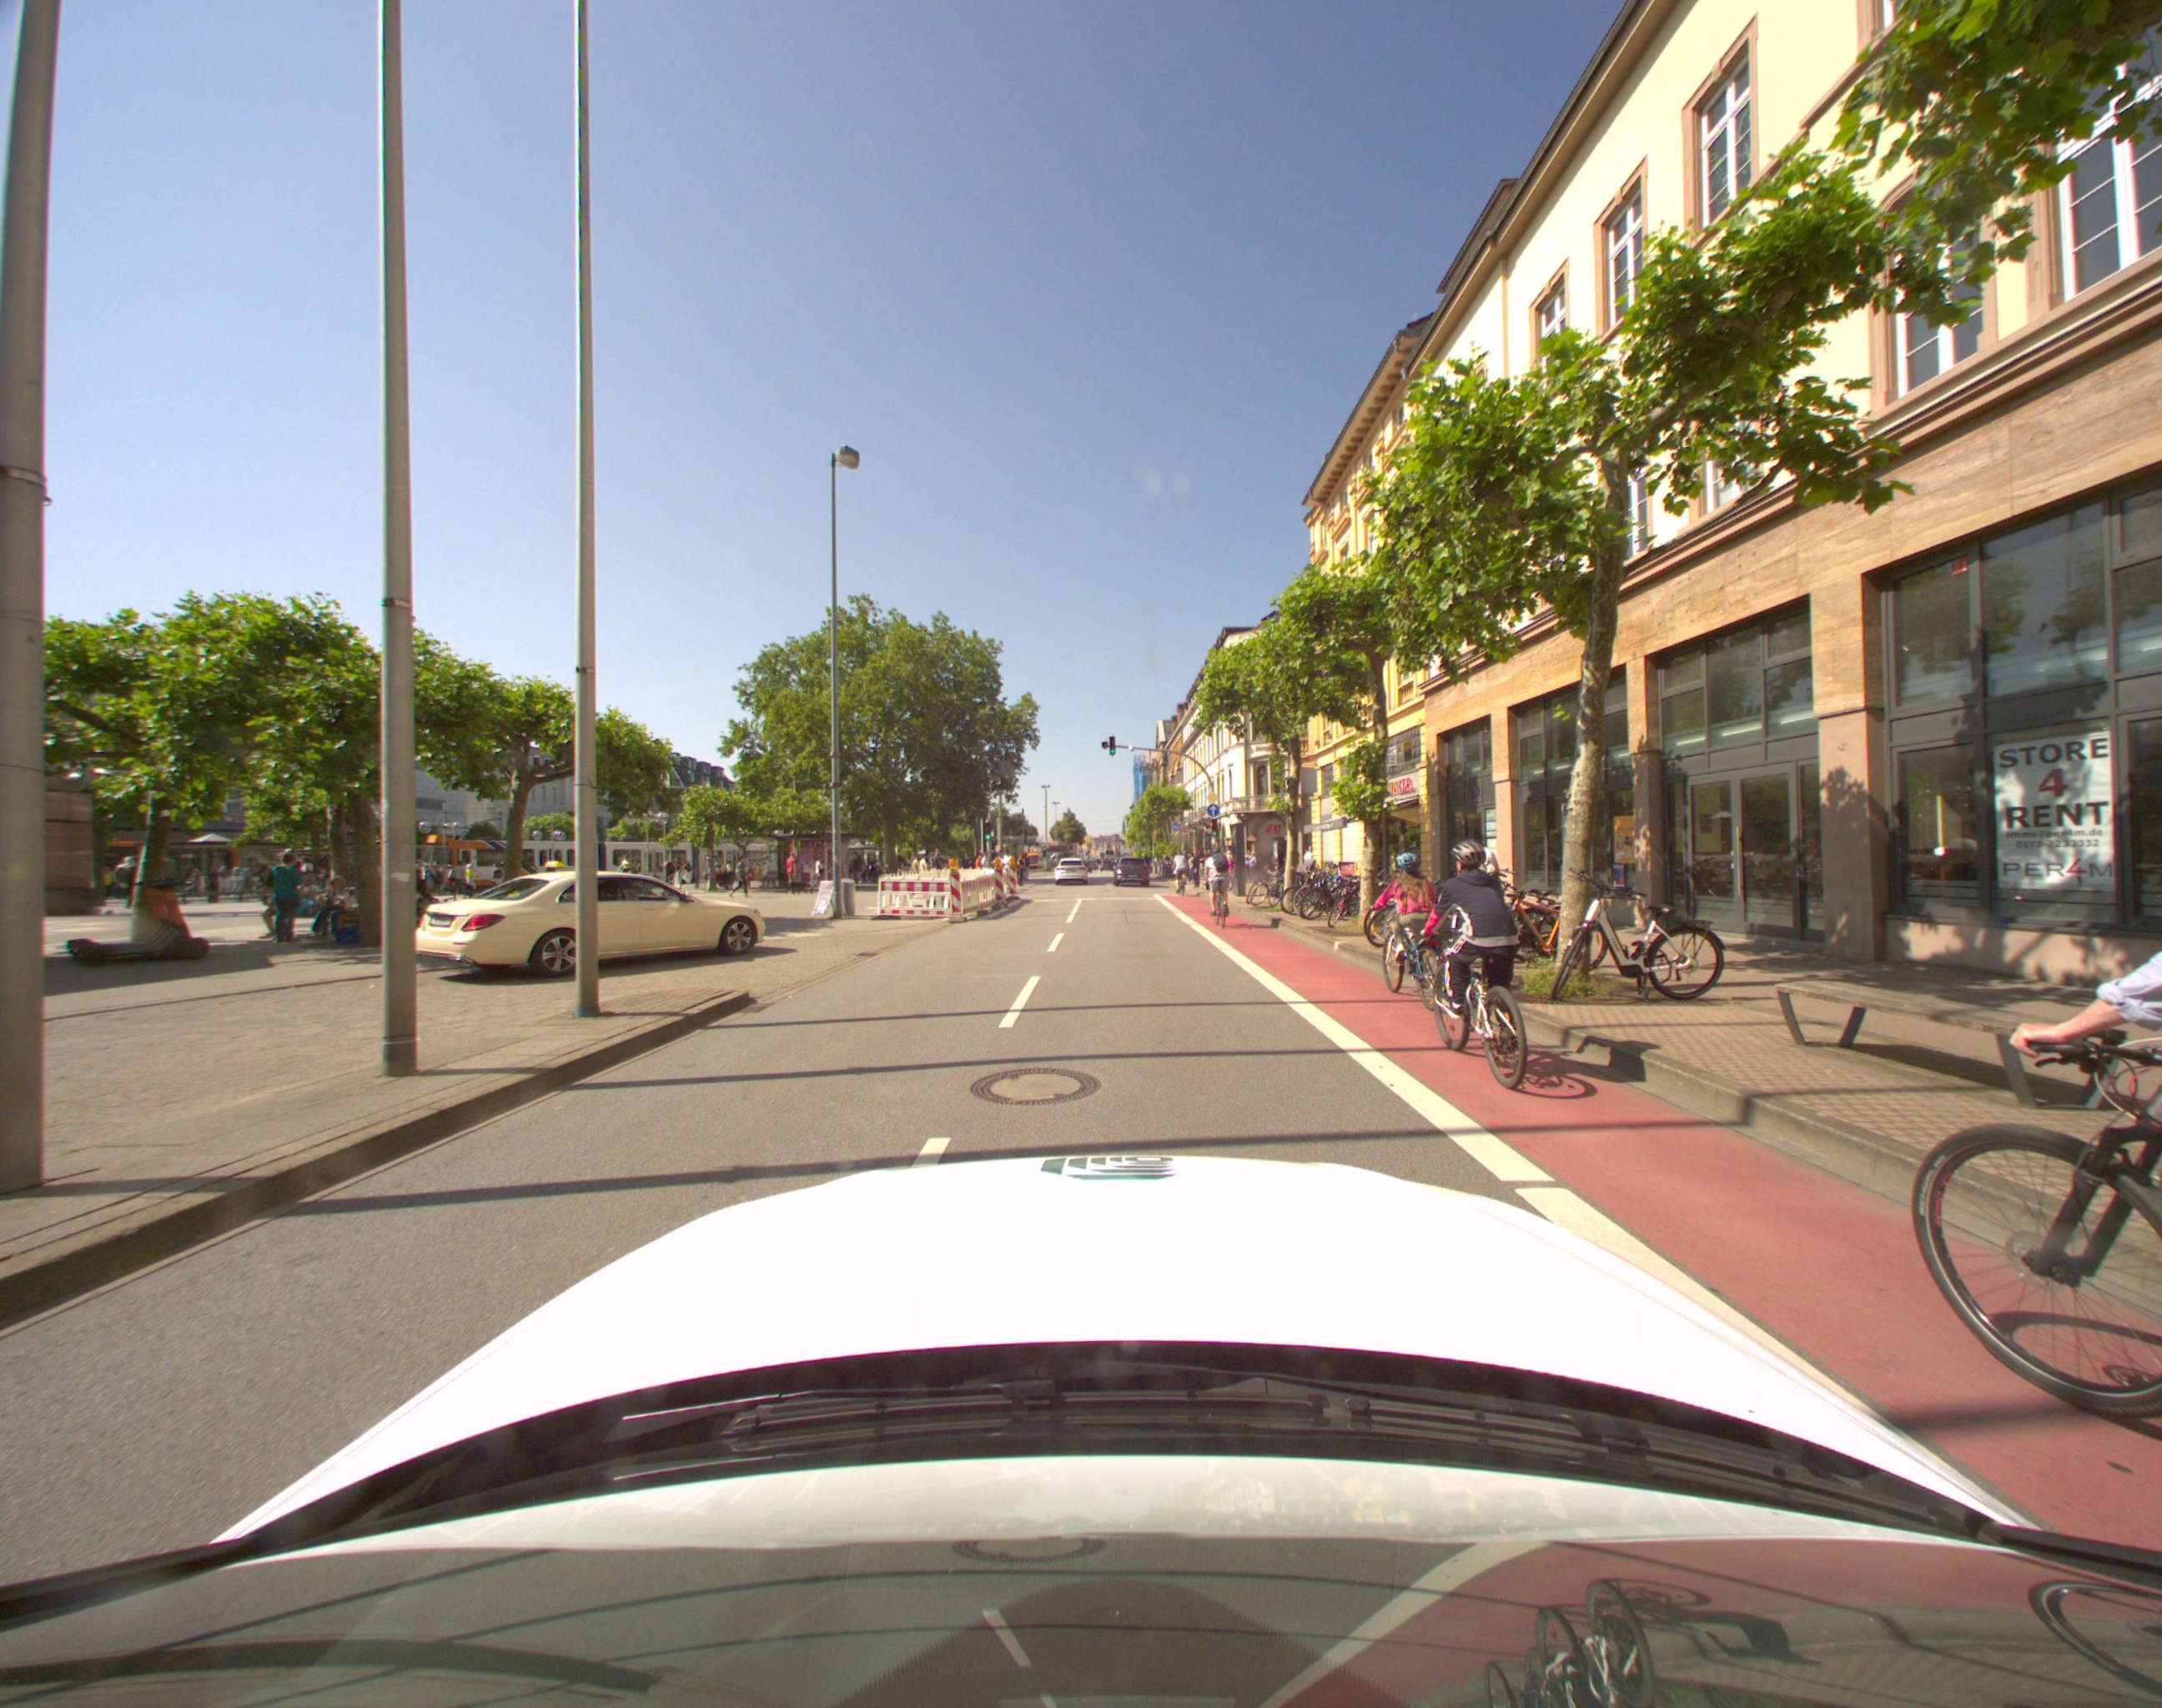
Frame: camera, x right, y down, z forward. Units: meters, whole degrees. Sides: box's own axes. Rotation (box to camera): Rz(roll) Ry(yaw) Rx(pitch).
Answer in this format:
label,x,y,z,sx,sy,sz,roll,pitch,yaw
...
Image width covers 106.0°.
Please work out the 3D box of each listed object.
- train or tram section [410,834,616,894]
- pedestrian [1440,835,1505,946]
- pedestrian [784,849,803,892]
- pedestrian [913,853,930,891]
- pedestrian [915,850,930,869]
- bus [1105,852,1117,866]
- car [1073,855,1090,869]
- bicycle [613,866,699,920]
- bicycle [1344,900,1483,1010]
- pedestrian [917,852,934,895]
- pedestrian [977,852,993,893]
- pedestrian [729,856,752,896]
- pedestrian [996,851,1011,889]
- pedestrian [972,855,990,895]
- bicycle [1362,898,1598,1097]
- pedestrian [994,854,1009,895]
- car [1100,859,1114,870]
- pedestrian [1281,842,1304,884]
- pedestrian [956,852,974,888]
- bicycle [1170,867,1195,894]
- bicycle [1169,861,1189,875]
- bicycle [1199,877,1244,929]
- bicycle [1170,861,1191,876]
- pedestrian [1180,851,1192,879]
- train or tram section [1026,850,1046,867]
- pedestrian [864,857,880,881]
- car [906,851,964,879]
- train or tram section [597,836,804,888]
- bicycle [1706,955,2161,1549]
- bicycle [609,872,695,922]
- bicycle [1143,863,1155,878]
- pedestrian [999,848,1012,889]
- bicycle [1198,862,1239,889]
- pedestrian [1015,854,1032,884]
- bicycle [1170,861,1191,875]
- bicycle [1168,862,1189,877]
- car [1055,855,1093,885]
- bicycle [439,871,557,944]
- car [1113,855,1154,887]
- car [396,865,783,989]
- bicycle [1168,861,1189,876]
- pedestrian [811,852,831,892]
label,x,y,z,sx,sy,sz,roll,pitch,yaw
train or tram section,-37.726,0.590,54.732,2.587,3.677,11.072,-1,0,37
pedestrian,5.859,0.527,12.213,0.612,1.612,0.745,-1,0,2
pedestrian,-12.772,0.716,36.216,0.666,1.879,0.625,1,-1,-32
pedestrian,-7.382,0.831,37.783,0.581,1.722,0.790,-1,-1,3
pedestrian,-9.780,0.351,50.267,0.627,1.144,0.669,-1,-1,22
bus,7.754,1.411,212.481,2.984,3.594,11.746,-1,-1,1
car,0.045,0.922,94.044,1.839,1.560,4.000,-1,0,1
bicycle,-10.893,0.987,20.914,1.777,1.348,0.740,1,0,-2
bicycle,3.430,1.000,8.622,0.598,0.926,2.086,-1,-1,0
pedestrian,-7.015,0.877,36.668,0.573,1.891,0.654,0,-1,3
pedestrian,-4.242,0.798,35.968,0.536,1.779,0.607,0,-1,7
pedestrian,-13.279,0.862,31.757,0.573,1.532,0.607,0,-1,7
pedestrian,-3.643,0.754,38.208,0.573,1.758,0.639,-1,-1,3
pedestrian,-4.332,0.887,35.262,0.542,1.718,0.600,1,-1,-30
bicycle,2.821,0.941,6.065,0.696,1.127,2.080,0,0,-2
pedestrian,-3.409,0.891,34.982,0.431,1.740,0.600,1,-1,-29
car,3.522,1.362,110.893,1.839,1.413,4.000,-1,0,1
pedestrian,9.156,0.415,35.223,0.655,1.790,1.233,-1,-2,1
pedestrian,-6.031,0.846,42.391,0.627,1.859,0.690,-1,-1,22
bicycle,4.020,1.035,32.548,0.771,1.006,2.330,-1,0,2
bicycle,7.148,1.040,59.495,1.415,0.980,0.445,-2,0,2
bicycle,3.013,1.033,17.647,0.628,0.980,2.089,-1,0,1
bicycle,7.130,1.033,58.546,1.415,0.980,0.445,-2,0,2
pedestrian,6.608,0.698,51.430,0.581,1.673,0.605,-4,-1,0
train or tram section,-9.239,0.994,168.261,2.600,3.348,11.018,-1,0,5
pedestrian,-12.941,0.919,50.495,0.627,1.478,0.735,-1,-1,22
car,-10.587,0.780,59.553,1.843,1.955,4.786,-1,-1,23
train or tram section,-29.809,0.551,65.279,2.587,3.676,15.647,-1,0,37
bicycle,2.667,0.933,1.961,0.696,1.127,2.080,0,0,-2
bicycle,-10.614,1.065,20.183,1.777,1.185,0.662,-1,0,-2
bicycle,4.674,1.119,56.085,0.645,0.998,2.031,-1,0,1
pedestrian,-3.603,0.693,38.841,0.529,1.919,0.560,-1,-1,3
bicycle,5.796,0.929,34.406,0.604,1.082,1.820,-3,0,-33
pedestrian,-3.012,0.786,42.763,0.627,1.595,0.690,-1,-1,22
bicycle,7.317,1.038,59.926,1.415,0.980,0.401,-2,0,2
bicycle,6.843,1.067,57.268,1.415,0.980,0.445,-2,0,2
car,-0.349,0.841,44.918,1.838,1.560,4.002,-2,0,2
bicycle,-10.910,0.987,15.281,1.777,1.309,0.562,-1,0,-2
car,2.713,0.854,42.964,1.840,1.559,3.998,0,0,-1
car,-7.319,0.941,12.786,1.873,1.542,4.891,0,-1,29
bicycle,6.964,1.035,58.088,1.415,0.980,0.445,-2,0,2
pedestrian,-11.272,0.783,35.339,0.573,1.739,0.607,0,-1,7
